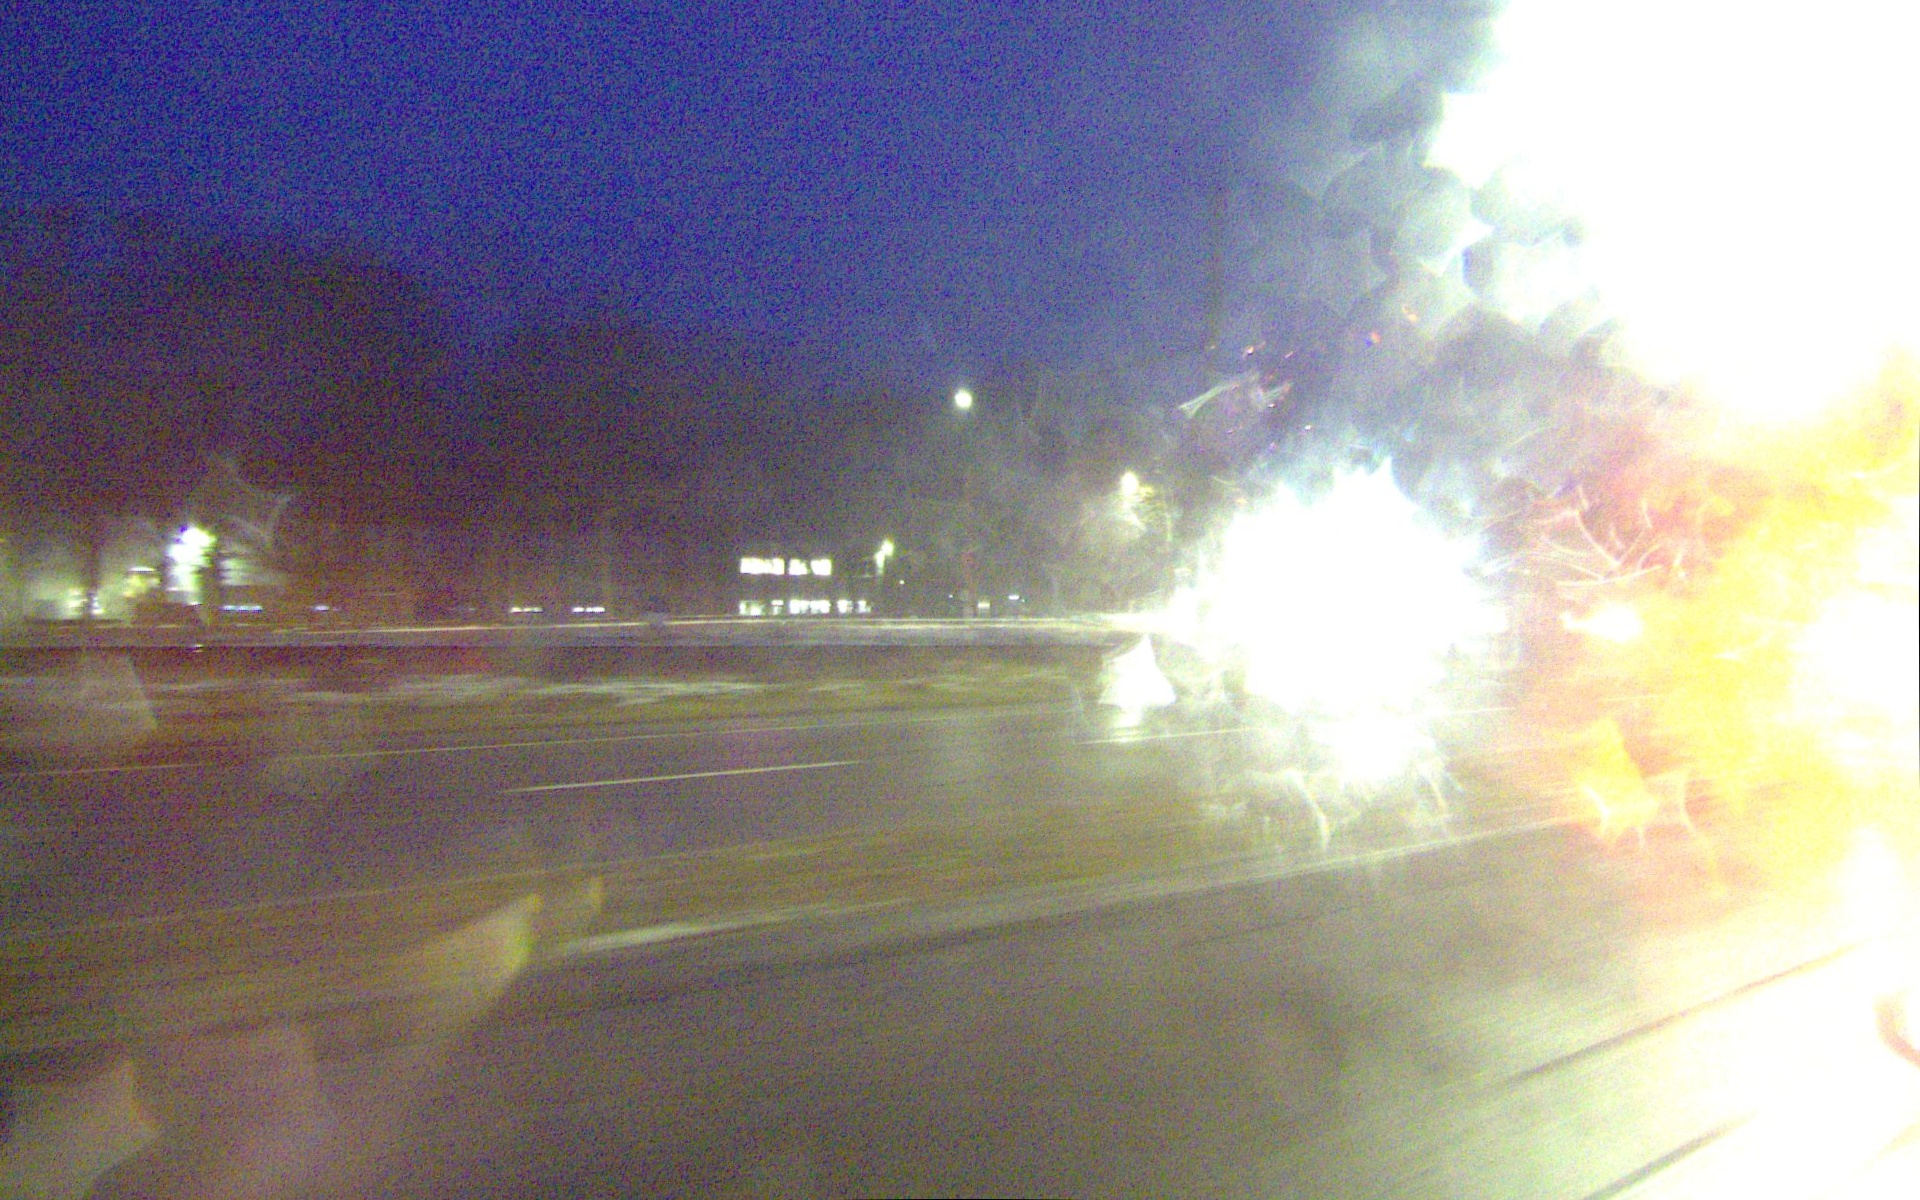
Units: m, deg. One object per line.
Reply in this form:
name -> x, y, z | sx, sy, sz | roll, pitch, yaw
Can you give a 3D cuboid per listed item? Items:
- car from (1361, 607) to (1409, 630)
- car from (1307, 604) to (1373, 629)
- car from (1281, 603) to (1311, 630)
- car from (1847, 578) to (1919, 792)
car -> 30.149, 1.316, 71.219 | 3.973, 1.539, 1.704 | 1, 1, -44
car -> 25.307, 1.097, 66.856 | 3.939, 1.539, 1.719 | 1, 1, -20
car -> 20.890, 1.010, 62.420 | 1.487, 1.538, 4.372 | 3, 1, 22
car -> 10.147, 0.746, 9.250 | 4.386, 1.806, 1.774 | 1, 0, -32
